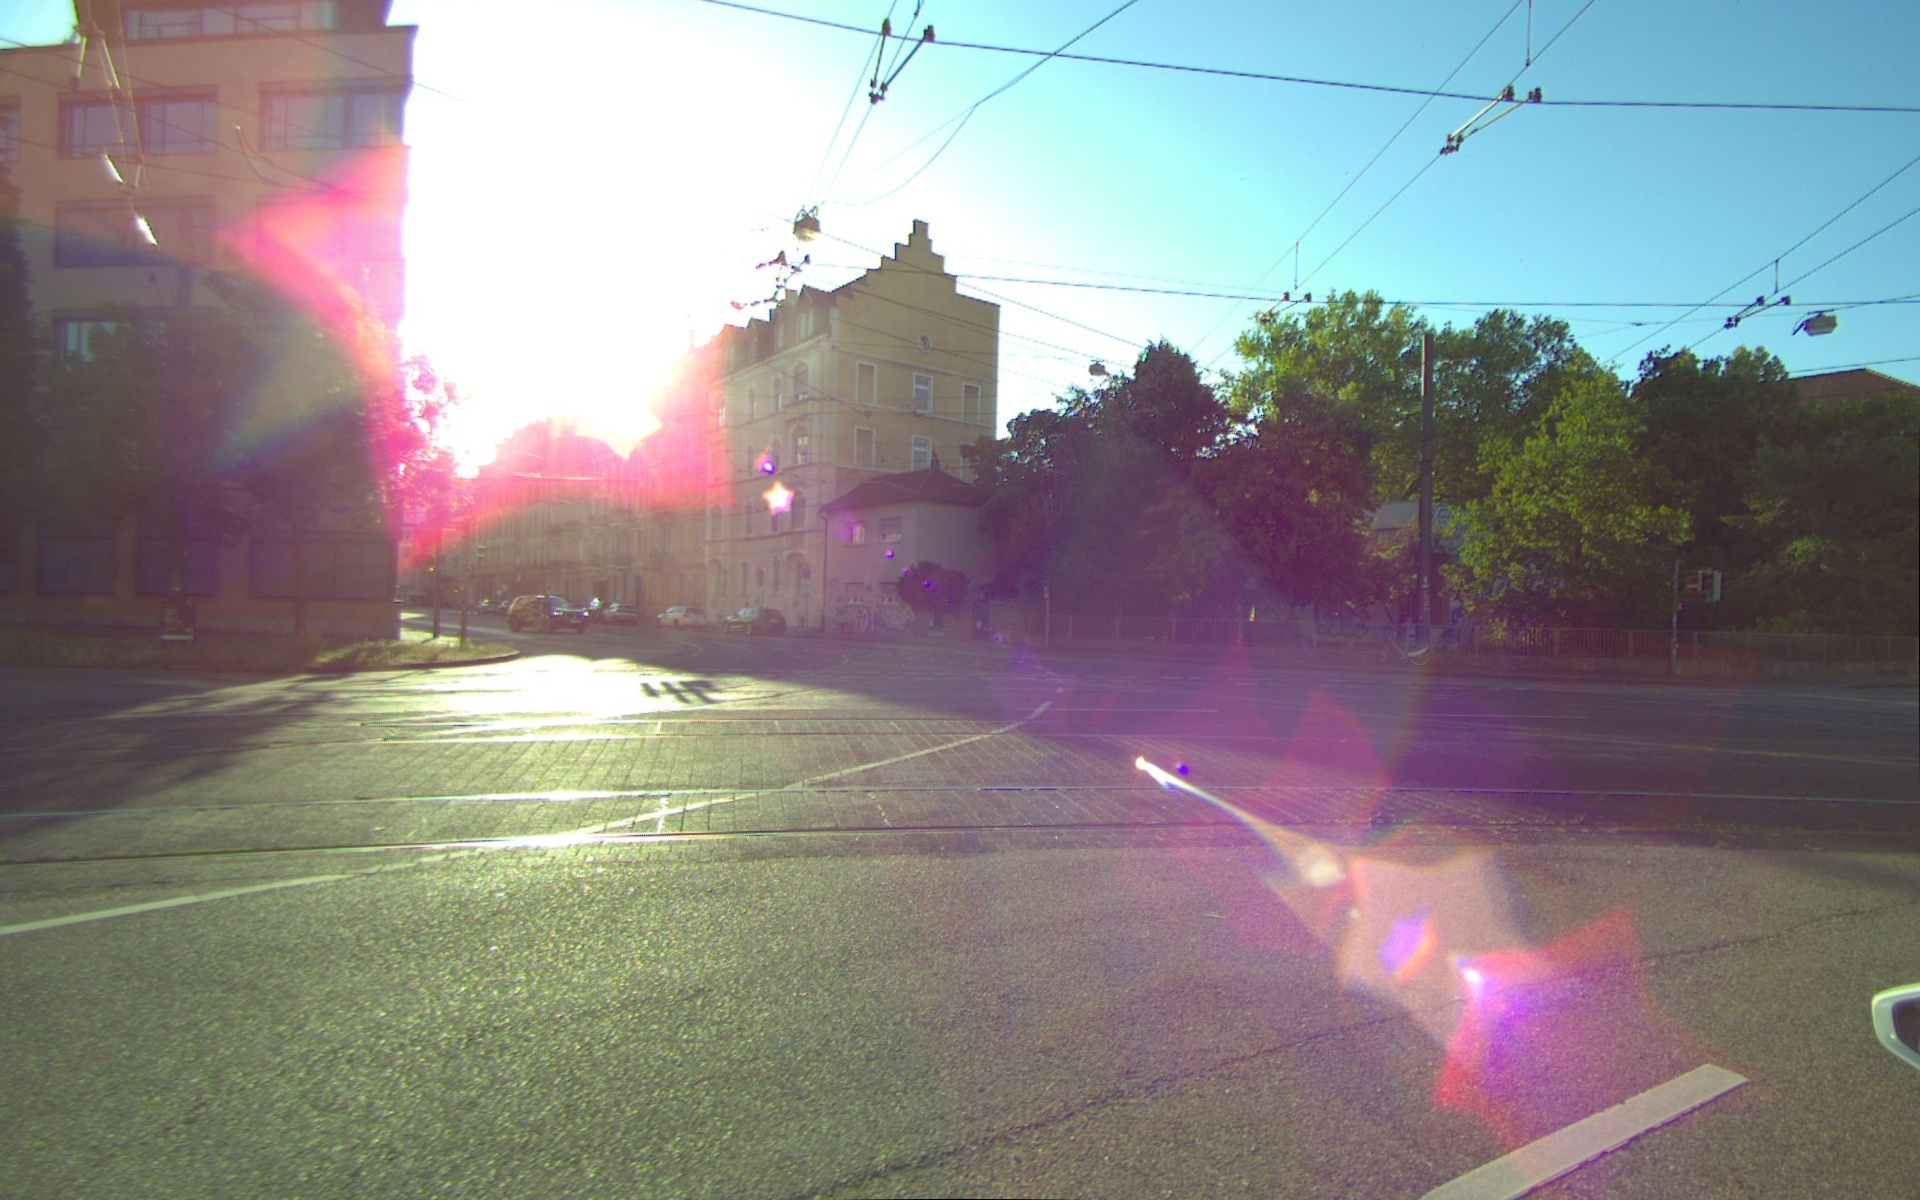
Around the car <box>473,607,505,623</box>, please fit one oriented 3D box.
[{"bbox_3d":[-47.132,1.466,100.486,1.984,1.506,3.953,1,-1,-40],"label":"car"}]

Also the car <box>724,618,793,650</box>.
[{"bbox_3d":[-10.429,1.717,51.880,1.982,1.506,3.957,1,-1,-37],"label":"car"}]

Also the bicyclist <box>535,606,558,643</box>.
[{"bbox_3d":[-16.802,0.992,40.816,0.661,1.472,0.736,1,-1,-37],"label":"bicyclist"}]

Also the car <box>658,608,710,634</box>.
[{"bbox_3d":[-16.518,1.239,60.050,1.826,1.506,3.961,1,-1,-34],"label":"car"}]

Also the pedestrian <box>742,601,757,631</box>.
[{"bbox_3d":[-12.261,0.935,58.554,0.581,1.728,0.709,1,0,-38],"label":"pedestrian"}]

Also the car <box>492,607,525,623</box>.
[{"bbox_3d":[-42.583,1.411,94.648,1.854,1.506,3.953,1,-1,-40],"label":"car"}]

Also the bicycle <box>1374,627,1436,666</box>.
[{"bbox_3d":[13.848,1.439,31.287,1.687,1.157,0.559,1,0,12],"label":"bicycle"}]

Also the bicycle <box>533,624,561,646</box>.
[{"bbox_3d":[-16.784,1.423,40.772,0.652,0.844,1.674,1,-1,-36],"label":"bicycle"}]

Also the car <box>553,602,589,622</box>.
[{"bbox_3d":[-30.759,0.906,79.399,1.830,1.506,3.961,1,-1,-34],"label":"car"}]

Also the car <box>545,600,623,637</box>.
[{"bbox_3d":[-16.446,0.803,43.846,1.984,1.506,3.953,1,-1,-40],"label":"car"}]

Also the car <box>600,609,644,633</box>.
[{"bbox_3d":[-23.029,1.408,68.415,1.830,1.506,3.961,1,-1,-34],"label":"car"}]
